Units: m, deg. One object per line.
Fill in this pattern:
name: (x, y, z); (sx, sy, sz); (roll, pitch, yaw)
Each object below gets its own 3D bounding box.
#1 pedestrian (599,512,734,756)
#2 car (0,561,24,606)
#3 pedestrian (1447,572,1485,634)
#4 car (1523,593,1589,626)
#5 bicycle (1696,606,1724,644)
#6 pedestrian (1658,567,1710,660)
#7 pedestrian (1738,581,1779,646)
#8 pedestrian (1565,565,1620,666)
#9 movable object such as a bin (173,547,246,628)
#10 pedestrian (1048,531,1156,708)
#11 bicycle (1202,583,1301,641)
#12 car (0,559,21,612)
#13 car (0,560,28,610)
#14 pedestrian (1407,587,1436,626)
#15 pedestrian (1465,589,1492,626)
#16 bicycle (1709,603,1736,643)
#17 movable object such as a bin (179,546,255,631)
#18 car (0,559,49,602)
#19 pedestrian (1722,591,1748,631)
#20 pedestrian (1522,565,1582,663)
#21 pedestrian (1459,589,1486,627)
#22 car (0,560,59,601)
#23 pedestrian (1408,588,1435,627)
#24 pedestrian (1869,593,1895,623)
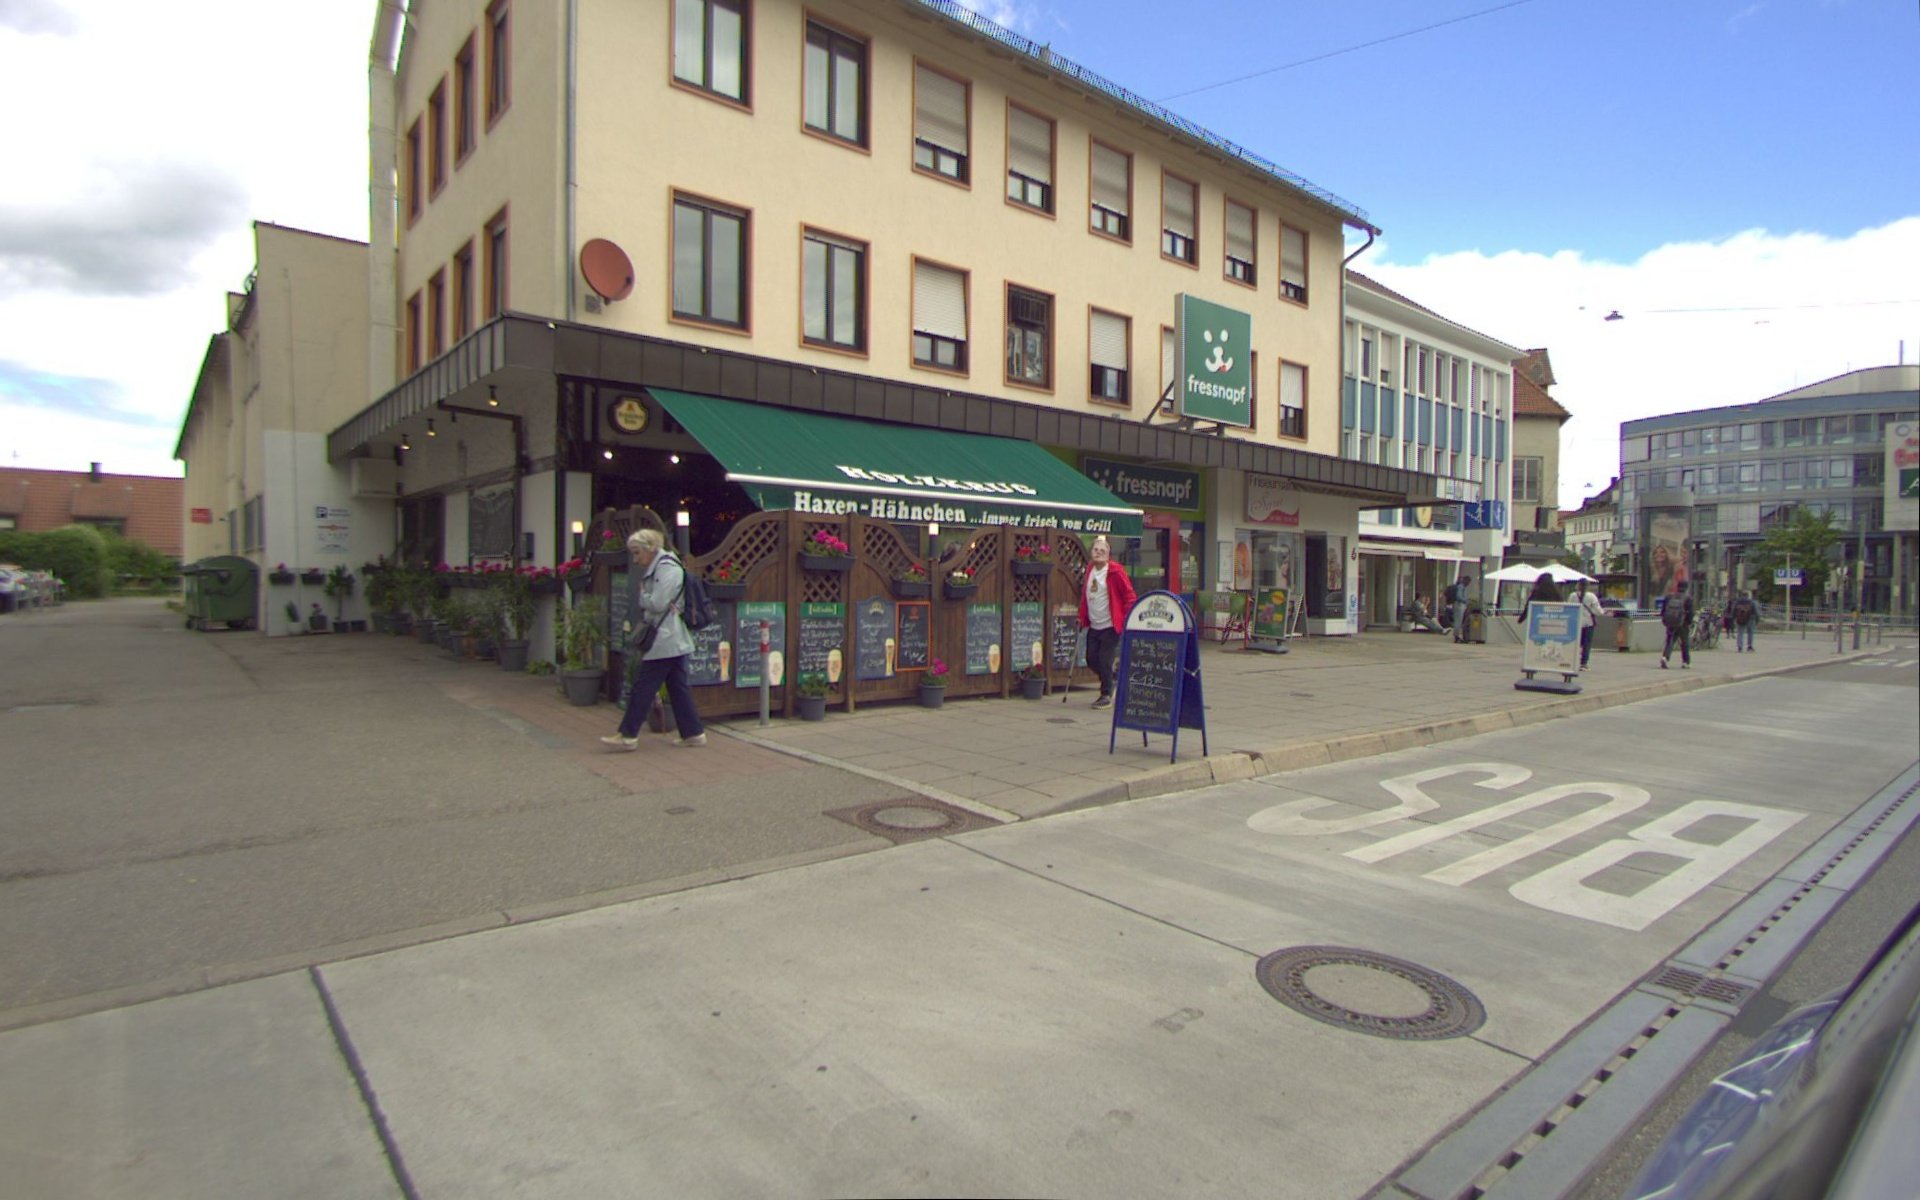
pedestrian: (-2.268, 0.218, 7.815); (0.682, 1.763, 0.770); (4, 4, 44)
car: (-34.015, -0.570, 33.821); (3.880, 1.526, 1.835); (0, 0, -39)
pedestrian: (13.592, 0.072, 27.182); (0.787, 1.655, 0.667); (1, 0, -43)
car: (36.370, 0.549, 61.885); (1.850, 1.919, 4.912); (0, 0, 10)
bicycle: (19.883, 0.651, 26.830); (1.362, 0.986, 0.274); (1, 0, -40)
pedestrian: (13.512, 0.246, 18.878); (0.604, 1.699, 0.613); (1, 1, -38)
pedestrian: (21.022, 0.346, 26.658); (0.838, 1.655, 0.689); (1, 0, -41)
pedestrian: (10.604, 0.244, 16.963); (0.605, 1.655, 0.613); (0, 2, -43)
movable object such as a bin: (-15.272, -0.249, 20.591); (1.098, 1.583, 1.106); (1, 0, -41)
pedestrian: (1.494, 0.171, 10.647); (0.795, 1.763, 0.770); (4, 4, 44)
bicycle: (5.762, 0.223, 19.927); (2.311, 1.076, 0.742); (0, 2, -43)
car: (-29.668, -0.426, 29.032); (3.880, 1.526, 1.835); (0, 0, -39)
car: (-31.214, -0.471, 30.946); (3.880, 1.526, 1.835); (0, 0, -39)
pedestrian: (14.632, 0.210, 32.080); (0.578, 1.236, 0.613); (1, -3, -43)
pedestrian: (17.451, 0.265, 34.059); (0.578, 1.236, 0.613); (1, -3, -43)
bicycle: (20.961, 0.622, 27.829); (1.362, 1.066, 0.274); (1, 0, -40)
movable object such as a bin: (-14.343, -0.223, 19.543); (1.098, 1.583, 1.106); (1, 0, -41)
car: (-35.401, -0.695, 36.330); (3.880, 1.526, 1.835); (0, 0, -39)
pedestrian: (32.647, 0.476, 42.643); (0.580, 1.643, 0.740); (-2, -2, 18)
pedestrian: (10.303, 0.220, 17.618); (0.605, 1.655, 0.719); (0, 2, -43)
pedestrian: (17.016, 0.264, 33.614); (0.578, 1.235, 0.614); (1, 1, -43)
car: (-36.717, -0.739, 38.229); (3.880, 1.526, 1.835); (0, 0, -39)
pedestrian: (14.943, 0.231, 32.787); (0.578, 1.235, 0.614); (1, -1, -43)
pedestrian: (51.562, 0.464, 56.609); (0.834, 1.656, 0.641); (-2, -2, 16)
